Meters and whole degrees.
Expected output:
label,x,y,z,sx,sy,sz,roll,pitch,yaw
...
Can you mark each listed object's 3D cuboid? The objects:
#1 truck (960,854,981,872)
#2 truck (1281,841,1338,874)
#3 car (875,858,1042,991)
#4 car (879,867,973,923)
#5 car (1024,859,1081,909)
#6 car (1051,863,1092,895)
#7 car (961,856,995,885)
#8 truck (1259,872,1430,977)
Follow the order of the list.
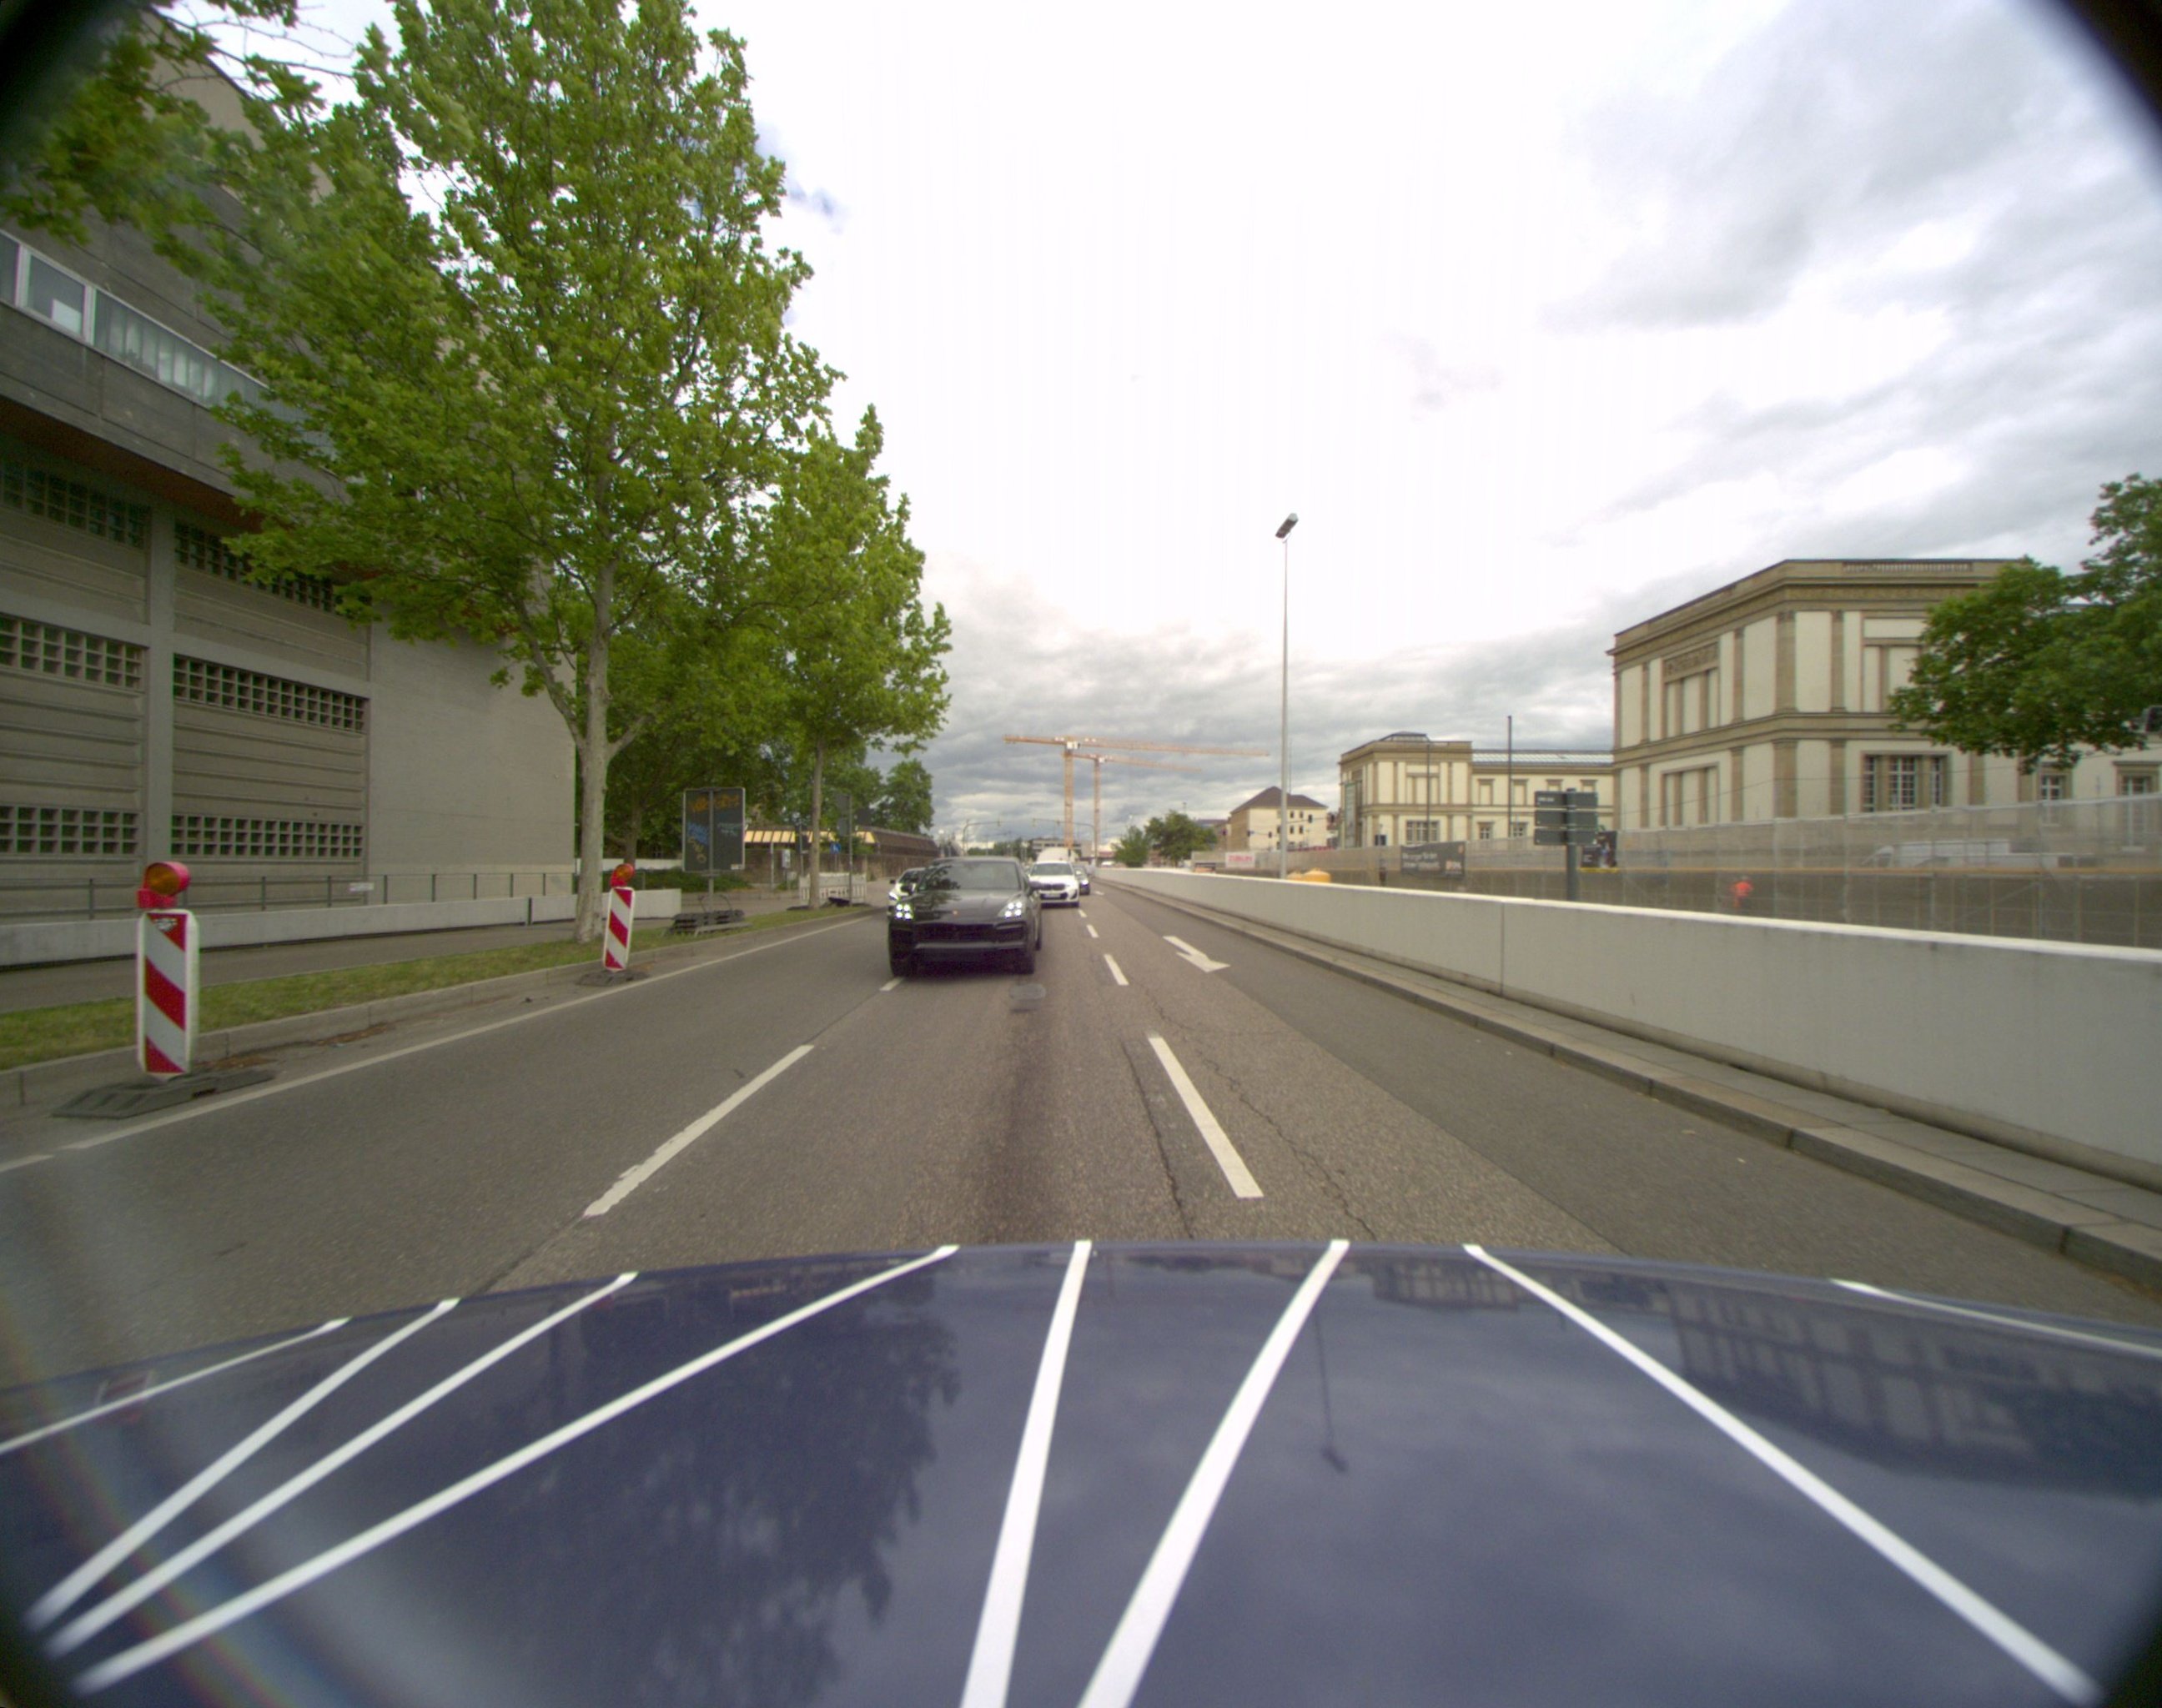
label,x,y,z,sx,sy,sz,roll,pitch,yaw
truck,-23.460,1.860,160.952,2.913,3.653,9.013,1,-1,-18
truck,31.212,0.576,104.910,2.925,4.058,16.616,1,-1,0
car,-1.668,0.899,11.922,1.956,1.638,4.607,-1,0,-1
car,-4.314,1.103,21.838,1.739,1.426,4.382,0,-1,1
car,-0.932,0.986,26.651,1.812,1.595,3.713,1,0,1
car,-0.397,1.134,36.087,1.852,1.412,4.106,-1,-1,1
car,-6.709,1.053,49.919,1.812,1.815,3.772,1,0,-1
truck,7.588,1.919,22.959,2.610,2.695,6.674,1,-2,-2
